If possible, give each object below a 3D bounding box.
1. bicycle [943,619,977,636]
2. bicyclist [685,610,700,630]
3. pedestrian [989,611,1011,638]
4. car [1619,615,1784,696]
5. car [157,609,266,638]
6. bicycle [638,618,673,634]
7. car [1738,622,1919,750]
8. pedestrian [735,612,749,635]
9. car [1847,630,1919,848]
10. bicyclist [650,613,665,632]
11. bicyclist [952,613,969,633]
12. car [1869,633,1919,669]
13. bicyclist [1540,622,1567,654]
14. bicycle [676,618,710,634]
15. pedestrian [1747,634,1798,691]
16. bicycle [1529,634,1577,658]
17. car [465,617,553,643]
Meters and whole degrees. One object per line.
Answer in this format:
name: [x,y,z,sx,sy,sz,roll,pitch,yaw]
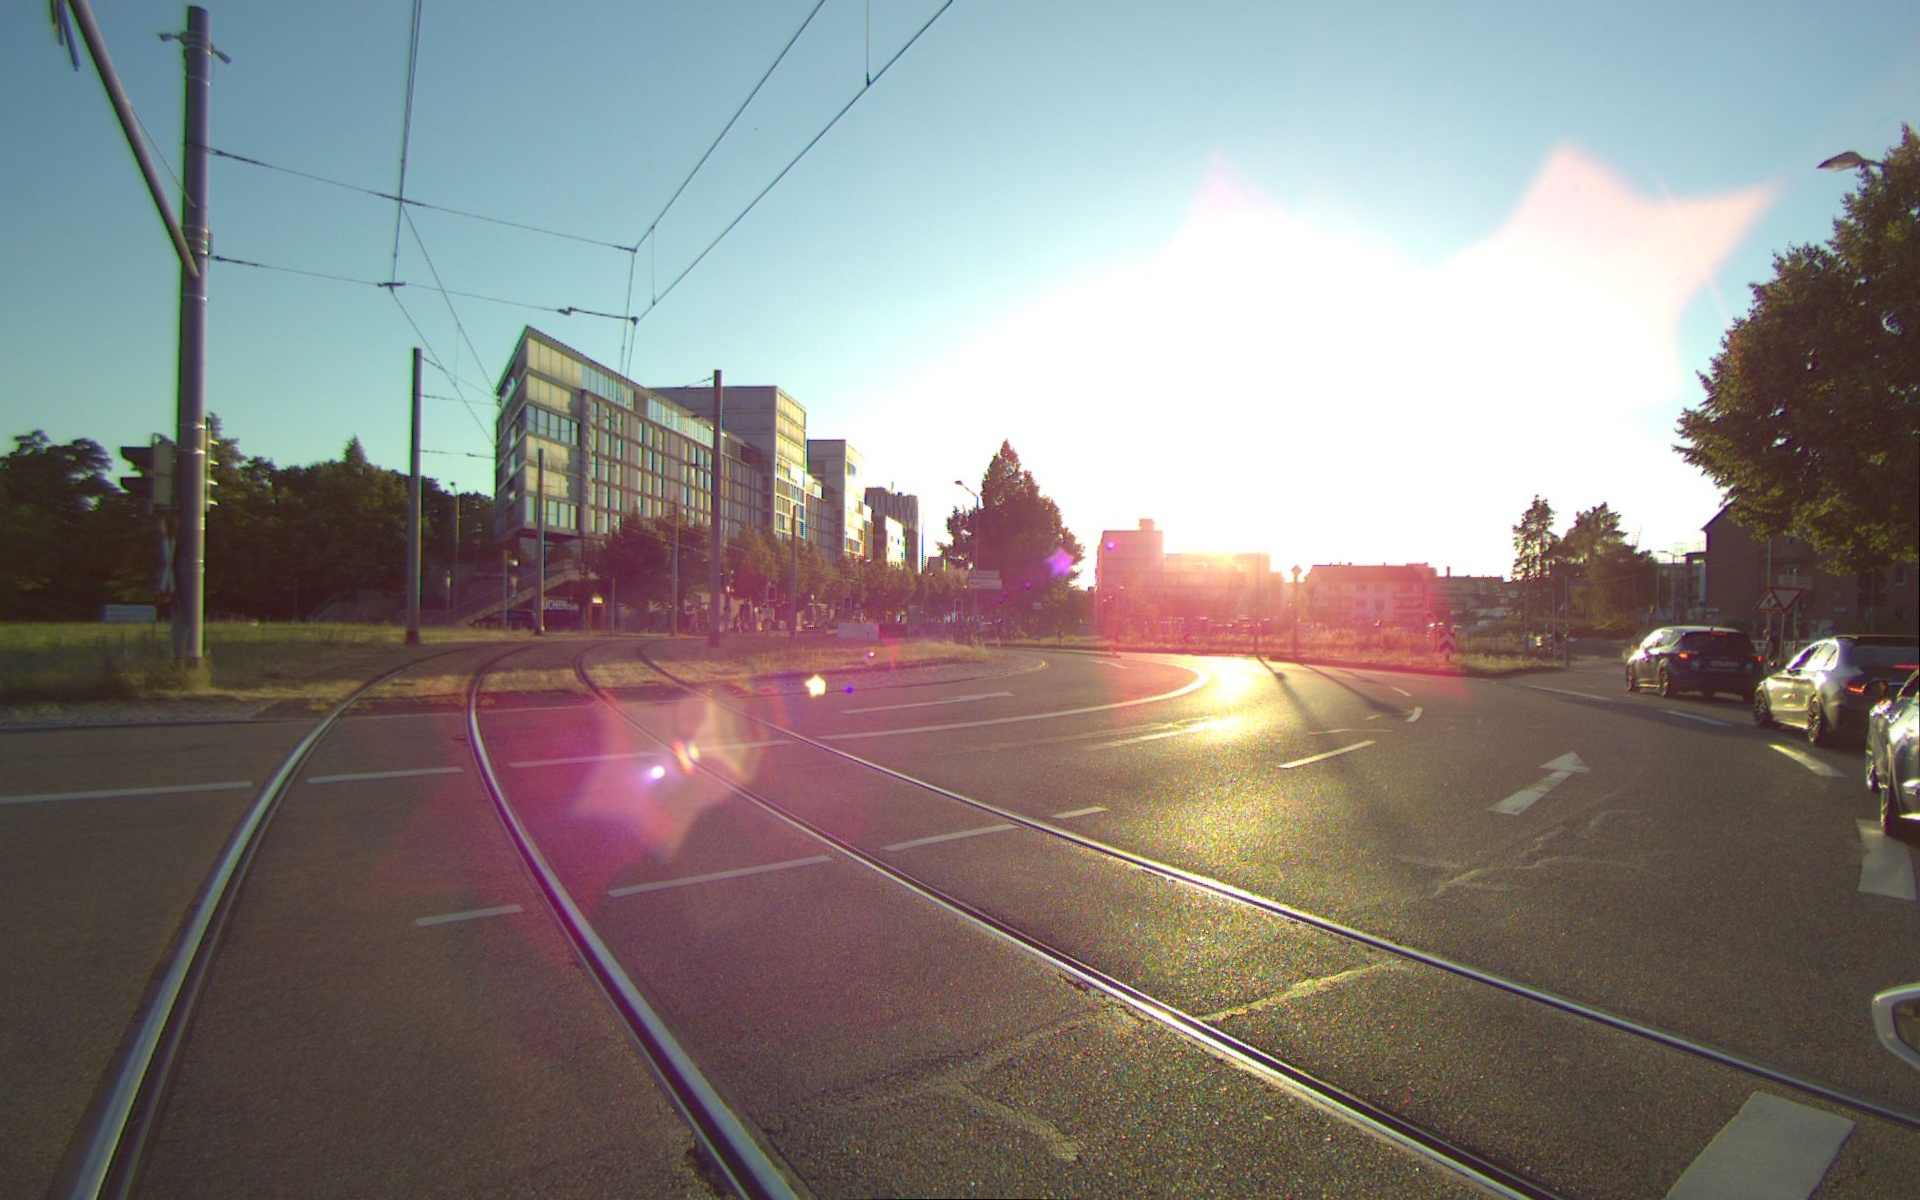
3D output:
bicycle: [0.000,1.918,71.091,2.364,1.182,0.754,0,-1,25]
bicyclist: [-20.279,1.516,76.180,0.960,1.545,0.754,1,-1,-5]
pedestrian: [2.785,1.683,69.899,1.141,1.851,0.978,0,-1,29]
car: [16.818,1.230,23.043,1.919,1.623,4.078,1,-2,20]
car: [-40.013,1.243,53.851,4.544,1.451,1.928,1,-1,-32]
bicycle: [-22.888,1.950,75.519,2.362,1.182,0.754,1,-1,-2]
car: [12.301,1.065,13.622,1.921,1.446,4.424,2,0,27]
pedestrian: [-17.015,1.827,78.336,0.871,1.730,0.795,1,-1,1]
car: [8.137,0.960,7.566,1.927,1.360,4.650,3,1,39]
bicyclist: [-22.743,1.693,75.559,0.862,1.411,0.754,1,-1,-2]
bicyclist: [0.008,1.640,71.071,0.960,1.412,0.754,0,-1,25]
car: [40.653,2.135,42.153,3.849,1.420,1.877,1,-1,-14]
bicyclist: [30.659,1.952,51.876,0.962,1.634,0.752,1,-1,-18]
bicycle: [-20.216,1.971,76.127,2.364,1.182,0.754,1,-1,-5]
pedestrian: [24.953,1.898,30.860,0.831,1.708,0.885,1,-1,-10]
bicycle: [30.652,2.369,51.895,2.371,1.182,0.751,1,-1,-18]
car: [-26.327,1.733,58.705,4.234,1.451,1.945,0,-1,1]
